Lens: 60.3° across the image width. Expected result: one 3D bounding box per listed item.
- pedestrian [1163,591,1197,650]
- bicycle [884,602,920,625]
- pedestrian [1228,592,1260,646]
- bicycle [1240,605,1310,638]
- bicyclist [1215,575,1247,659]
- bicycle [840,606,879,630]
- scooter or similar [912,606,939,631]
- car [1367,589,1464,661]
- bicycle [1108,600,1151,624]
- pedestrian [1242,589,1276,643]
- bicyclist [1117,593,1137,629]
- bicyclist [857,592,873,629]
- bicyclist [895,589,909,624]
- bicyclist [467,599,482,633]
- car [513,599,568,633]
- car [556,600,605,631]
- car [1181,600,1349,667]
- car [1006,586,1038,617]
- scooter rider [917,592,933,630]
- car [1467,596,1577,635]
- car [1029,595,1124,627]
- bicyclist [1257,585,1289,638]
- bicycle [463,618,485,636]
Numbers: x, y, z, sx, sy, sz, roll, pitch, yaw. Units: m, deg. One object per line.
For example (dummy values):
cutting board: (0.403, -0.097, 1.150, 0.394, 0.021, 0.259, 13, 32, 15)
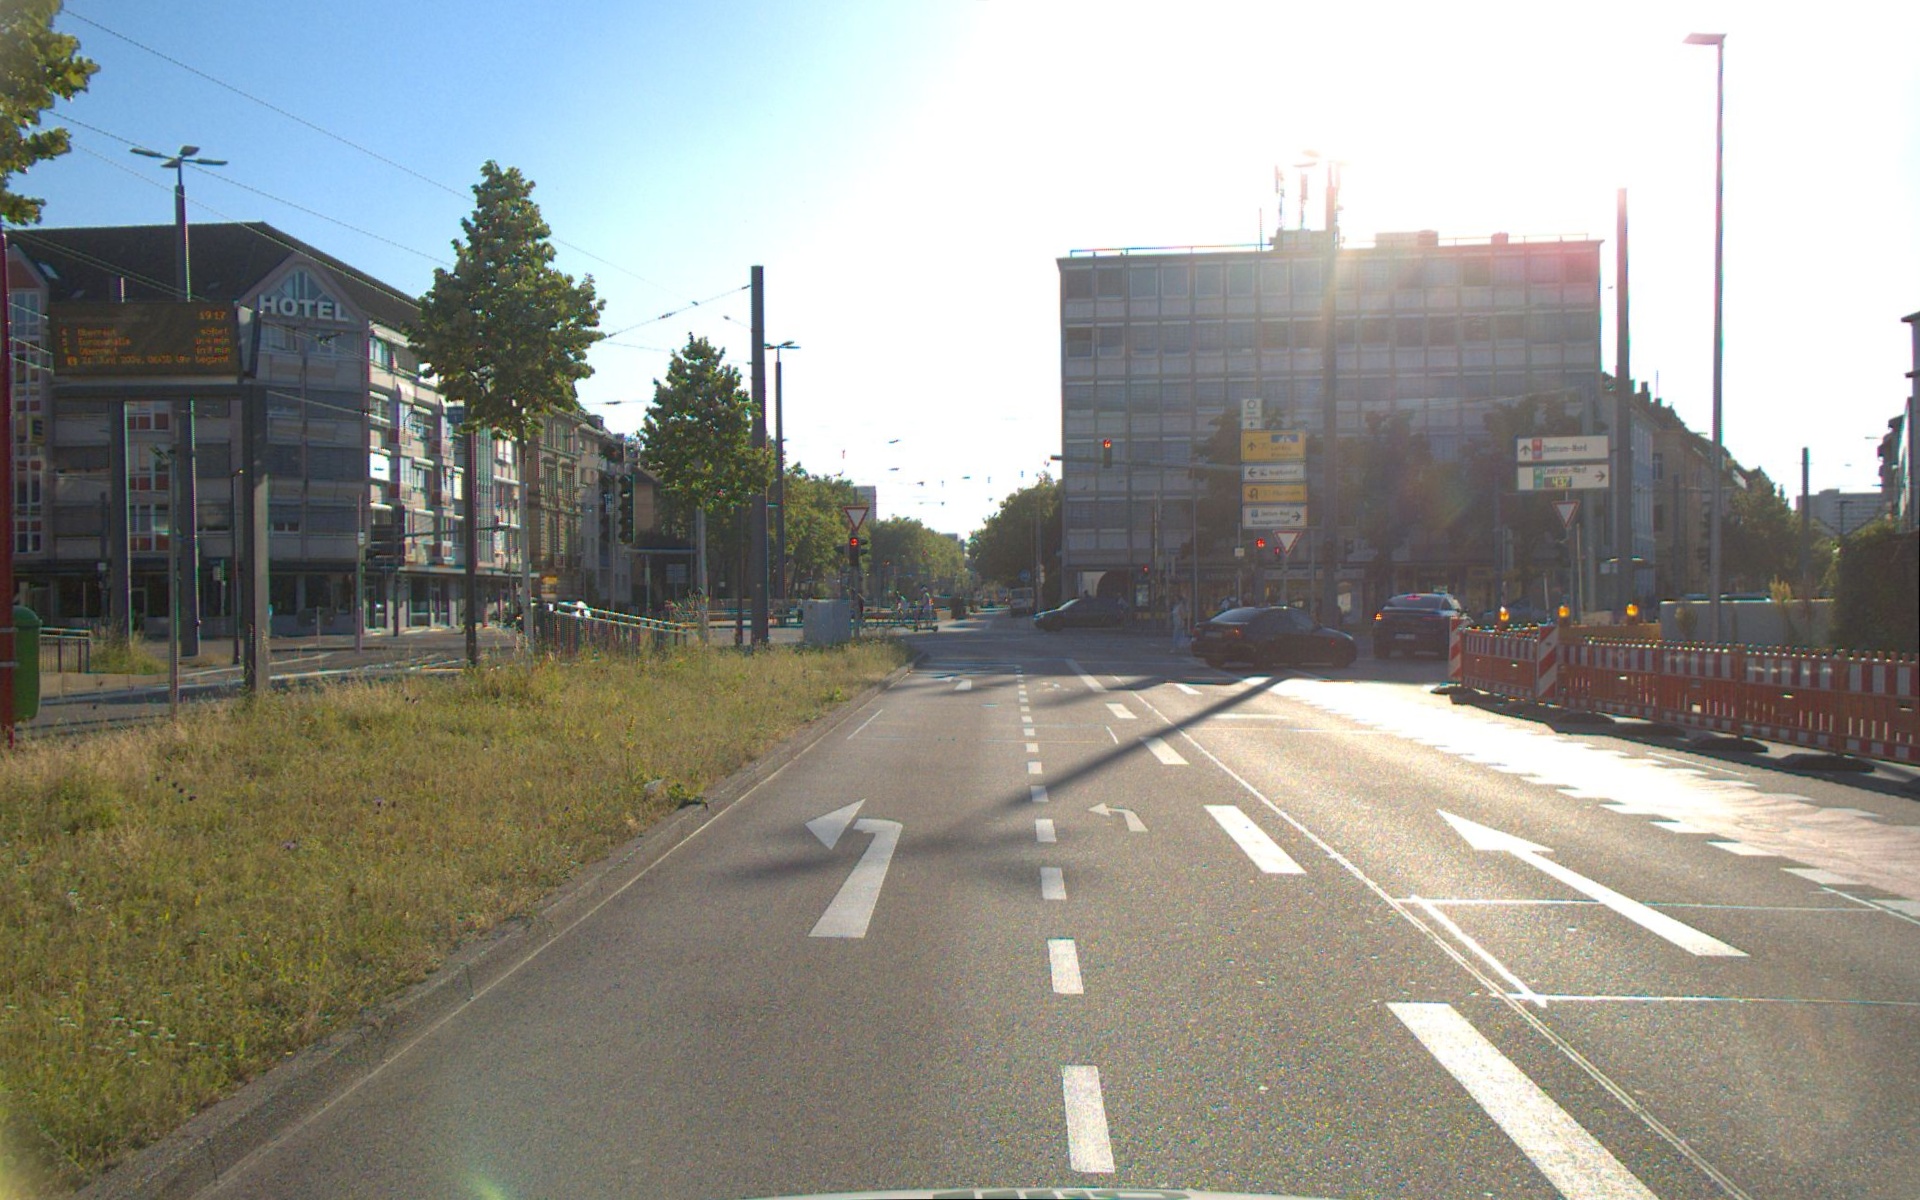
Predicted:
pedestrian: (6.130, 0.569, 46.134, 0.860, 1.625, 0.655, -1, 0, 1)
bicycle: (-2.890, 0.659, 82.104, 1.700, 1.078, 0.538, -1, 0, -9)
pedestrian: (8.699, 0.578, 50.667, 0.860, 1.625, 0.655, -1, 0, -1)
bicycle: (10.250, 0.697, 53.850, 2.179, 1.044, 0.682, 0, 0, 4)
bicyclist: (6.784, 0.405, 41.456, 0.630, 2.048, 1.067, 1, 1, 2)
bicycle: (-4.687, 0.821, 77.156, 1.742, 1.091, 0.534, -1, 0, -9)
scooter or similar: (-1.573, 0.825, 75.167, 1.150, 1.091, 0.529, -1, 0, -8)
car: (12.062, 0.610, 43.645, 1.953, 1.723, 3.999, 1, 1, 23)
bicycle: (8.477, 0.584, 82.719, 2.052, 1.157, 0.658, -1, 0, -3)
pedestrian: (9.034, 0.476, 49.955, 0.860, 1.625, 0.655, -1, 0, -1)
bicyclist: (8.342, 0.533, 82.709, 0.880, 1.783, 0.654, -1, 0, -4)
bicyclist: (-4.433, 0.484, 77.079, 0.651, 1.742, 0.537, -1, 0, -8)
bicyclist: (-2.875, 0.316, 82.110, 0.651, 1.742, 0.537, -1, 0, -8)
bicyclist: (-27.418, 0.920, 93.388, 0.580, 1.894, 0.642, -1, 0, 3)
car: (-24.605, 0.930, 97.178, 1.952, 1.892, 4.002, -1, 0, 4)
car: (-24.109, 0.962, 105.201, 1.952, 1.892, 4.002, -1, 0, 4)
car: (7.080, 0.729, 38.215, 3.963, 1.451, 1.724, 0, 0, -40)
car: (5.219, 0.140, 139.515, 2.435, 2.434, 5.935, -2, 0, 1)
scooter rider: (-1.577, 0.499, 75.167, 0.651, 1.742, 0.525, -1, 0, -8)
car: (25.112, 0.669, 74.011, 4.241, 1.624, 2.001, -1, 0, 3)
car: (5.218, 0.491, 74.201, 3.917, 1.310, 1.841, -1, 0, -13)
bicyclist: (10.192, 0.376, 53.853, 0.938, 1.690, 0.691, 0, 0, 5)
bicycle: (-27.413, 1.521, 93.319, 0.586, 0.931, 1.837, -1, 0, 3)
